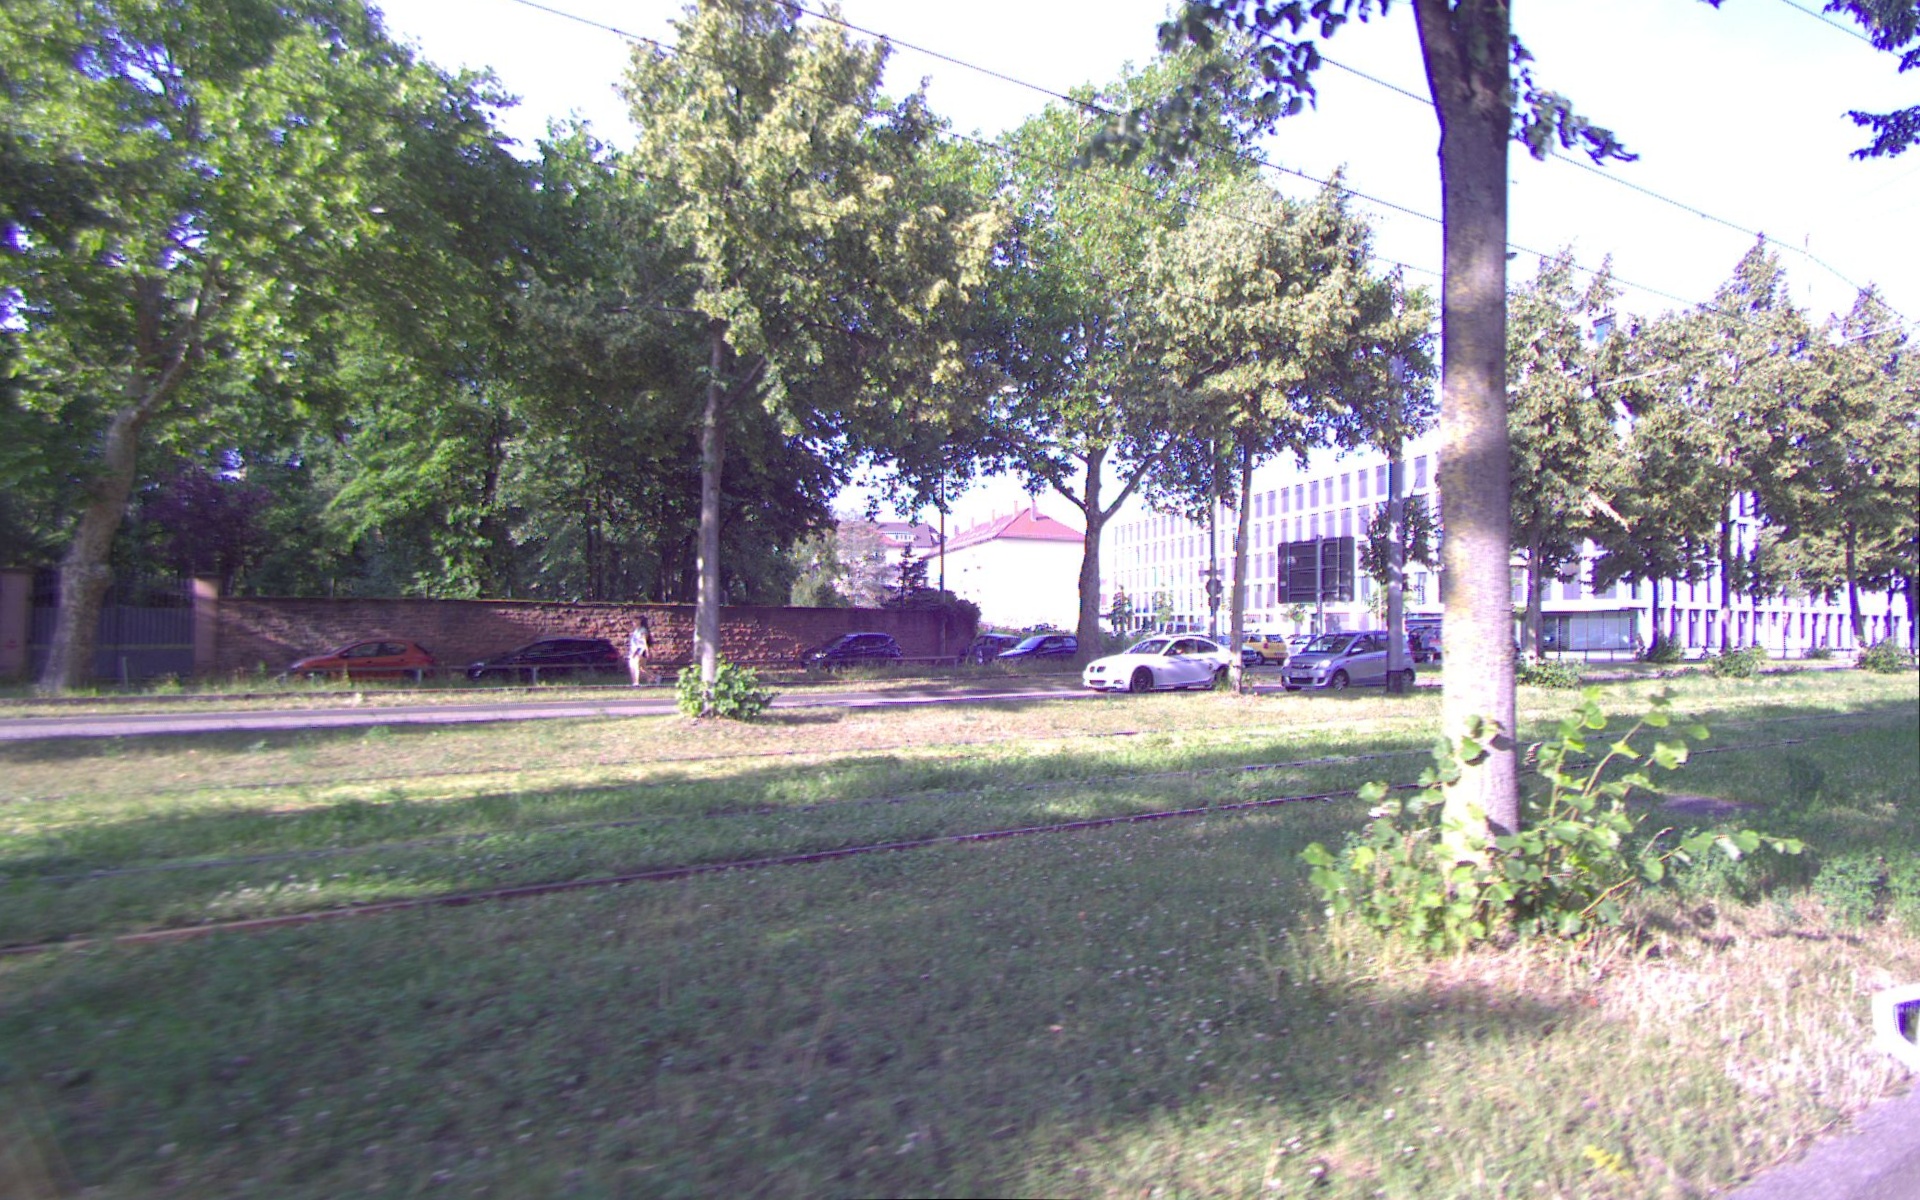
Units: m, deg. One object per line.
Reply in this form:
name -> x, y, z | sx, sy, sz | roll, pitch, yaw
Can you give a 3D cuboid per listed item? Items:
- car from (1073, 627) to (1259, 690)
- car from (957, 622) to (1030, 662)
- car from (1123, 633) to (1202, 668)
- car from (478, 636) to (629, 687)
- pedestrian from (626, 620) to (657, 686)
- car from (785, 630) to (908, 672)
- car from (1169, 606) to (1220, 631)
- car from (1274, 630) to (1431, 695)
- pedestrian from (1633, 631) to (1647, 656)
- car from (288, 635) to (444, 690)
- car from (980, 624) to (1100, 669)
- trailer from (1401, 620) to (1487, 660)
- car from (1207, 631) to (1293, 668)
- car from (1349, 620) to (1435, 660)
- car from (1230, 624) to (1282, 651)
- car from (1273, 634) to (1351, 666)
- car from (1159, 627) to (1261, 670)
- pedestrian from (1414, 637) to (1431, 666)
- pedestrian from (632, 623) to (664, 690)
car -> 5.280, 1.495, 25.542 | 4.757, 1.495, 1.674 | 2, -4, -31
car -> 1.383, 1.771, 43.189 | 1.719, 1.506, 3.849 | 2, 0, -22
car -> 9.577, 2.372, 47.839 | 1.787, 1.447, 3.632 | 2, 0, -28
car -> -12.967, 1.947, 32.076 | 4.307, 1.461, 1.779 | 2, 0, -29
pedestrian -> -7.419, 1.224, 23.400 | 0.595, 1.495, 0.384 | 2, 0, -31
car -> -4.252, 1.913, 38.083 | 4.321, 1.461, 1.773 | 2, 0, -37
car -> 22.428, 1.752, 96.228 | 4.424, 2.187, 1.847 | 2, 0, -19
car -> 9.462, 1.474, 24.164 | 3.654, 1.411, 1.575 | 2, 0, -31
pedestrian -> 47.825, 3.068, 70.642 | 0.683, 1.751, 0.564 | 2, 0, -31
car -> -17.594, 1.847, 29.970 | 3.863, 1.461, 1.711 | 2, 0, -29
car -> 2.858, 1.653, 35.546 | 3.989, 1.454, 1.673 | 2, 0, -31
trailer -> 27.700, 2.285, 57.615 | 1.733, 2.081, 4.354 | 2, 0, -23
car -> 14.291, 2.410, 49.629 | 1.833, 1.581, 3.971 | 2, 0, -28
car -> 23.170, 2.114, 53.966 | 1.737, 1.973, 3.974 | 2, 0, -29
car -> 31.133, 3.929, 105.535 | 4.945, 2.566, 1.806 | 2, 0, -14
car -> 18.155, 2.561, 51.865 | 1.705, 1.444, 3.551 | 2, 0, -29
car -> 11.994, 2.298, 48.528 | 1.862, 1.758, 5.040 | 2, 0, -28
pedestrian -> 24.189, 2.676, 52.513 | 0.562, 1.500, 0.519 | 2, 0, -31
pedestrian -> -7.149, 1.282, 22.990 | 0.595, 1.495, 0.384 | 2, 0, -31
